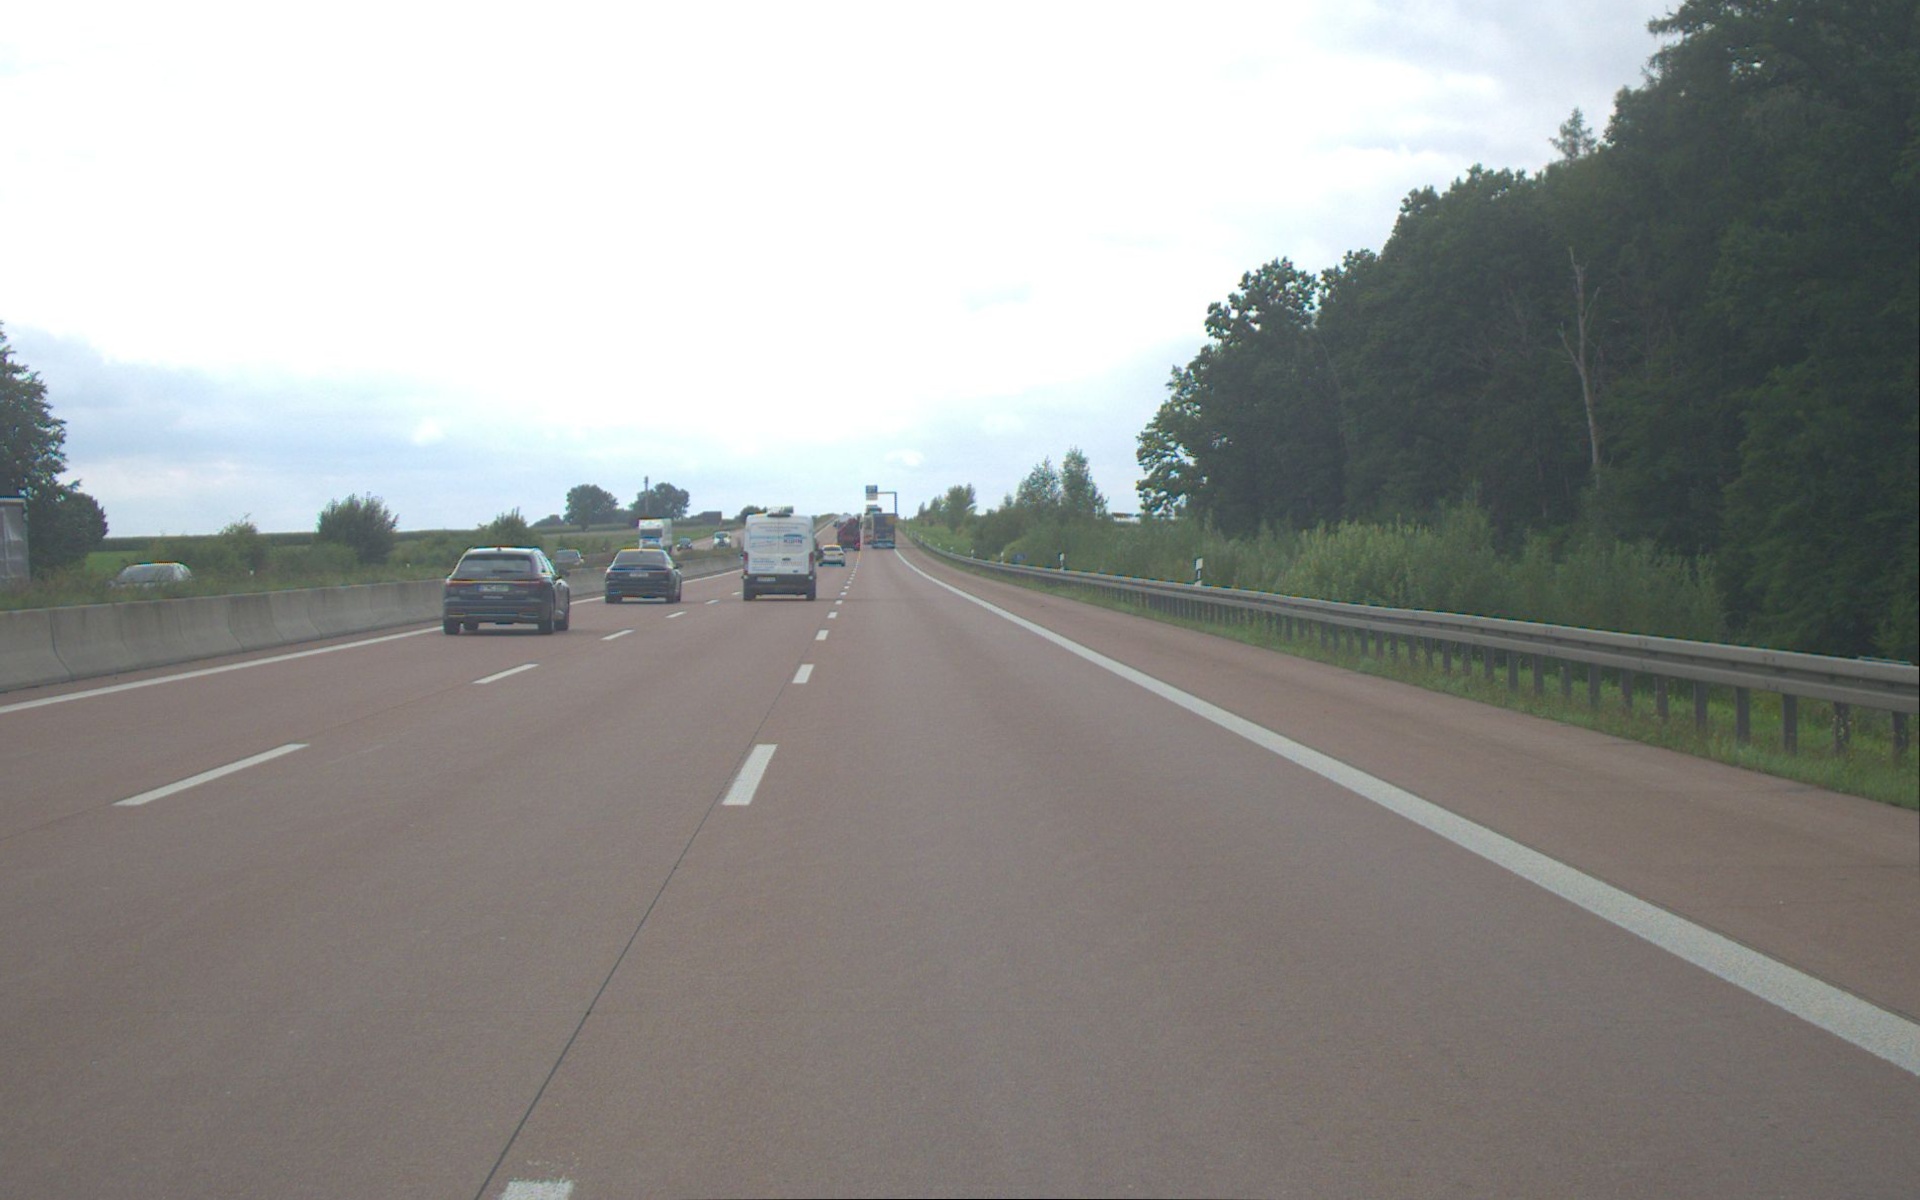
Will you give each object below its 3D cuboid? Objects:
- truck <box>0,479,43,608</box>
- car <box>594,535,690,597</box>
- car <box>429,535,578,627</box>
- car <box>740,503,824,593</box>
[{"bbox_3d":[-24.151,-1.401,82.549,2.356,3.089,7.482,2,1,-1],"label":"truck"},{"bbox_3d":[-8.577,-0.946,93.115,2.085,1.545,5.675,1,1,0],"label":"car"},{"bbox_3d":[-7.892,-0.364,59.856,2.059,1.486,5.454,0,1,-2],"label":"car"},{"bbox_3d":[-5.076,-1.545,98.819,2.137,2.498,7.132,0,2,-1],"label":"car"}]
